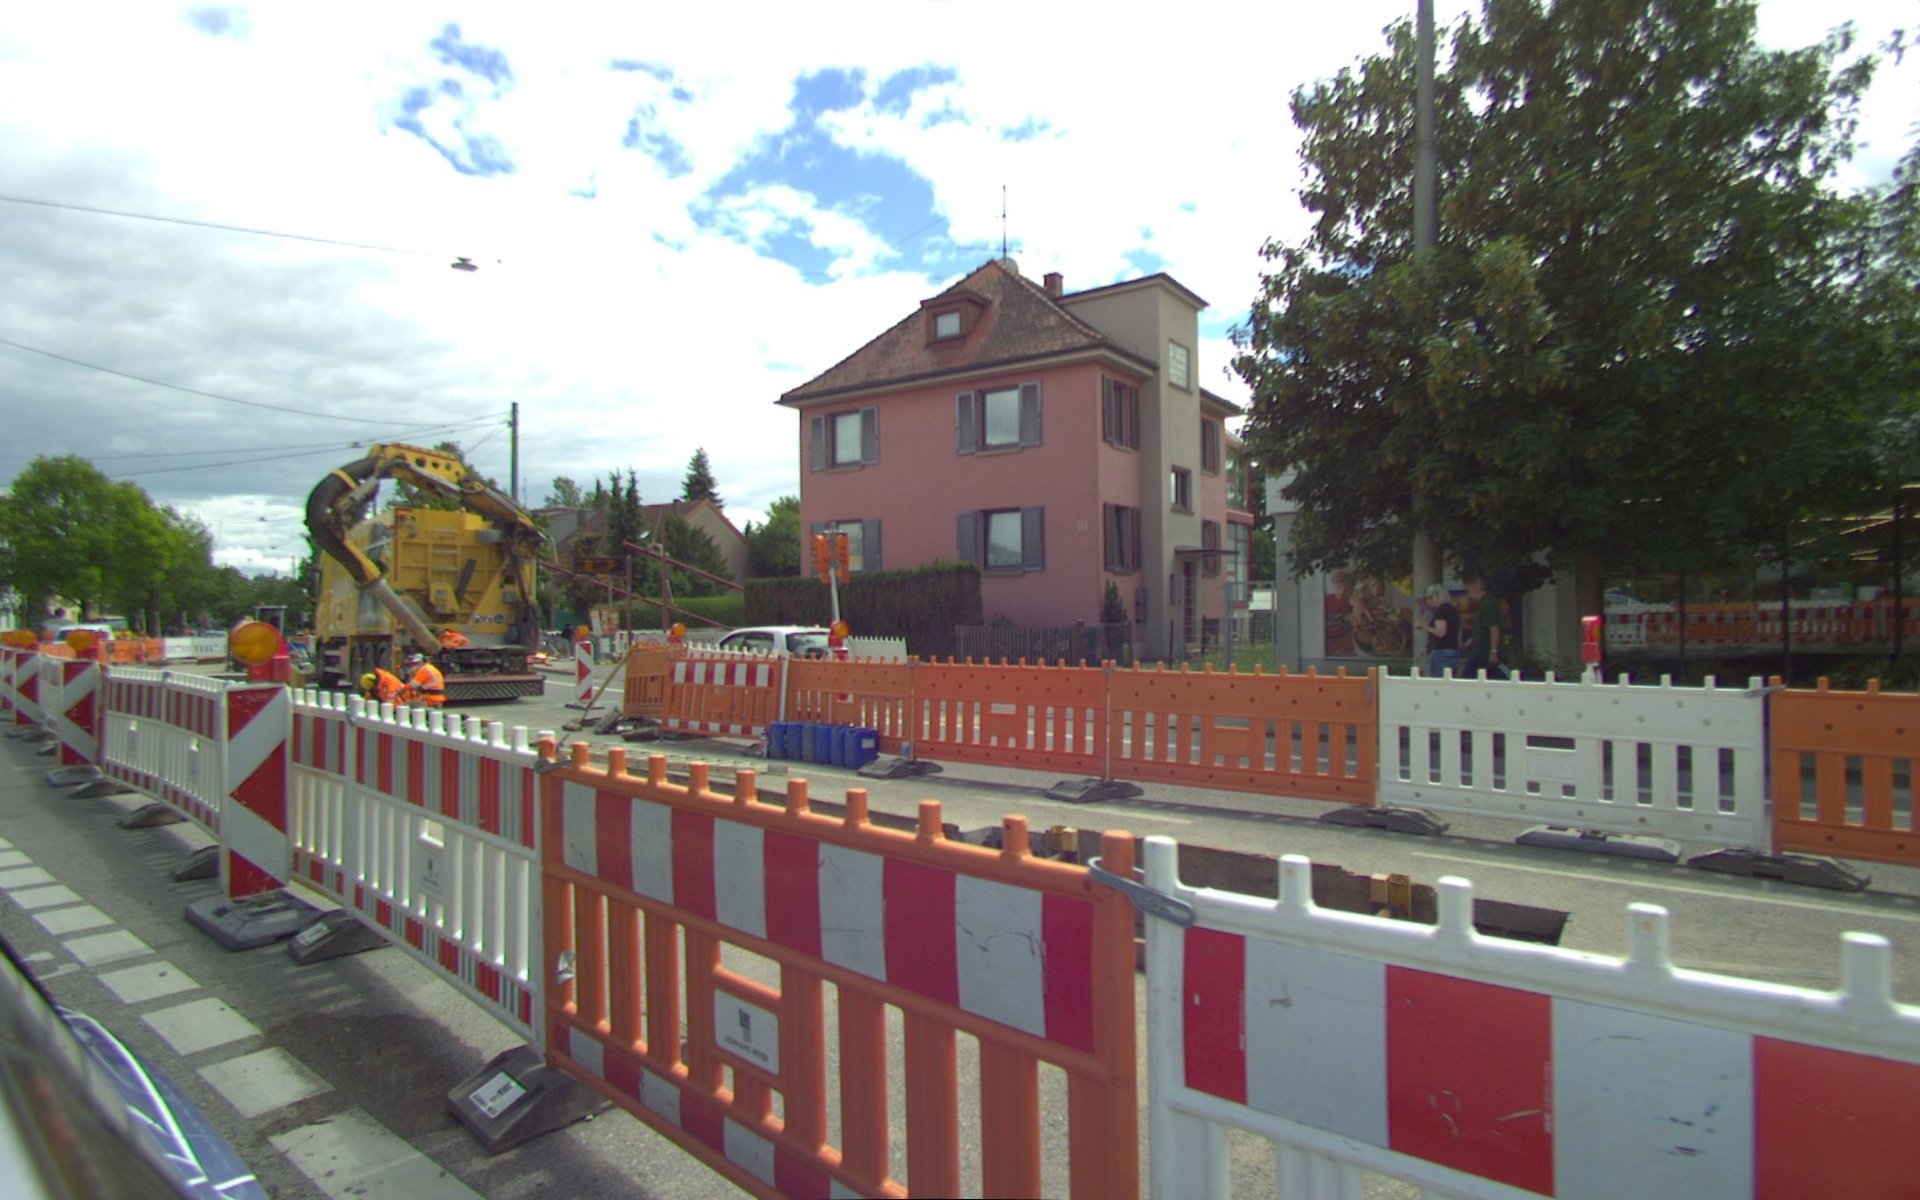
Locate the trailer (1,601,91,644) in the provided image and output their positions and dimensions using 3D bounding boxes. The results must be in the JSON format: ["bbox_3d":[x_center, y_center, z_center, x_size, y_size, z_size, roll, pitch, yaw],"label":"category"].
[{"bbox_3d":[-54.333,1.323,60.299,2.556,2.262,5.692,-3,0,-28],"label":"trailer"}]

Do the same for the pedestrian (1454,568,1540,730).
[{"bbox_3d":[6.386,0.562,12.041,0.616,1.861,0.624,0,-1,-26],"label":"pedestrian"}]

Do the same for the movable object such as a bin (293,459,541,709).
[{"bbox_3d":[-12.358,-0.167,22.279,2.559,4.253,11.138,0,-1,-40],"label":"movable object such as a bin"}]

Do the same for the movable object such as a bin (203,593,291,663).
[{"bbox_3d":[-29.191,1.140,41.641,1.965,2.645,6.543,0,-1,-26],"label":"movable object such as a bin"}]

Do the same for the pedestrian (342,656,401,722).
[{"bbox_3d":[-9.565,1.436,16.480,0.779,0.998,0.814,0,-1,-26],"label":"pedestrian"}]

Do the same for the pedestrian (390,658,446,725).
[{"bbox_3d":[-8.559,1.434,16.015,0.632,0.998,0.795,0,-1,-16],"label":"pedestrian"}]

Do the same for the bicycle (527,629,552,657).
[{"bbox_3d":[-17.190,1.754,41.345,0.531,1.091,2.137,0,-1,-33],"label":"bicycle"}]

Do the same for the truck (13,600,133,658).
[{"bbox_3d":[-58.492,1.913,66.786,6.561,3.223,2.335,-5,-2,11],"label":"truck"}]

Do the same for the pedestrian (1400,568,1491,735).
[{"bbox_3d":[5.623,0.576,11.727,0.685,1.861,0.624,0,-1,-26],"label":"pedestrian"}]

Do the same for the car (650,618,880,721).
[{"bbox_3d":[-3.388,1.083,17.163,4.001,1.464,1.834,-1,0,44],"label":"car"}]
